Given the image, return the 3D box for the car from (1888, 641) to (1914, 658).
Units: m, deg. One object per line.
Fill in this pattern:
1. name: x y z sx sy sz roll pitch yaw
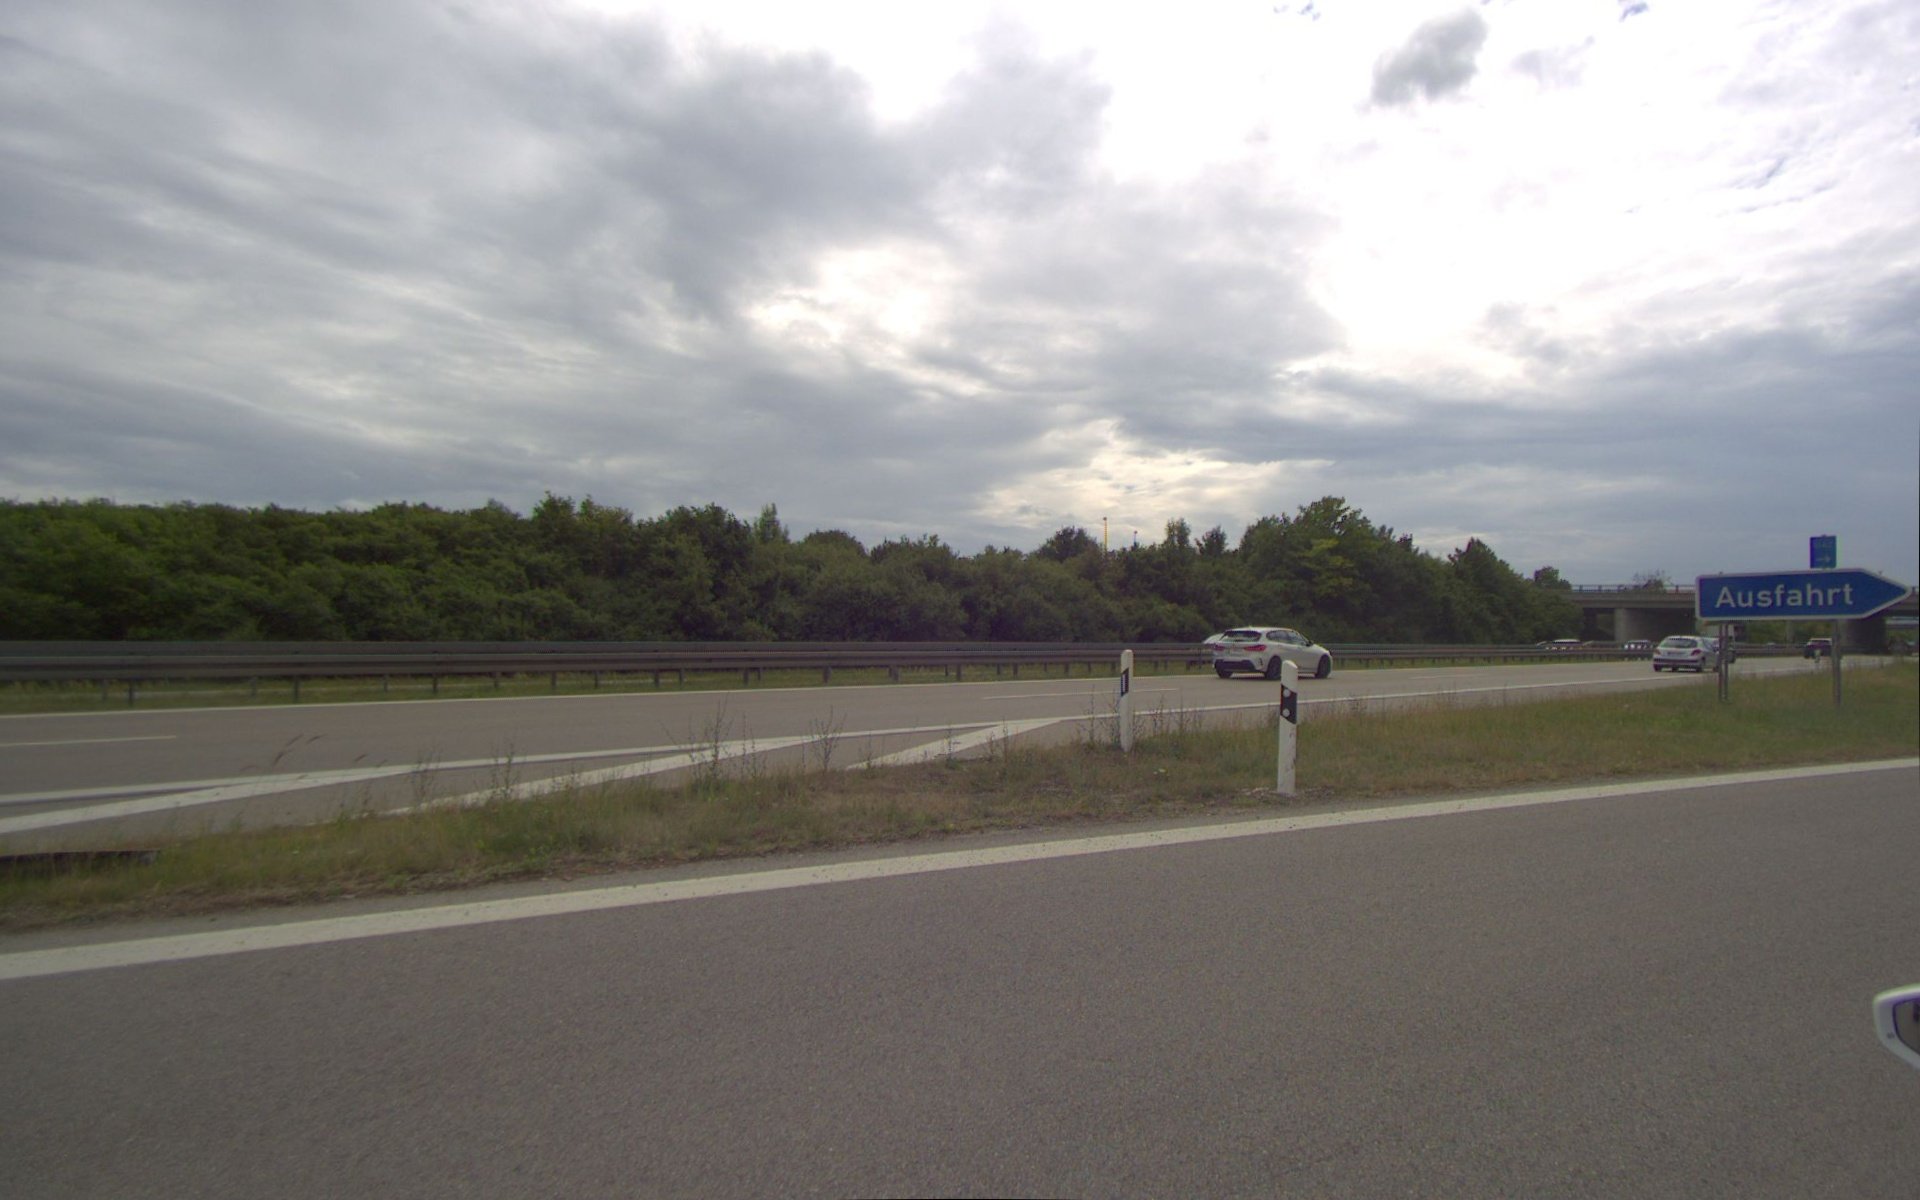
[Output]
1. car: 106.751 5.617 113.914 4.304 1.782 1.829 2 -2 -42

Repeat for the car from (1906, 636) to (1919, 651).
1. car: 121.292 5.466 127.069 3.969 1.834 1.976 2 -2 -41

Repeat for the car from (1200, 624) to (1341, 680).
1. car: 9.012 1.479 28.993 4.343 1.472 1.821 2 -2 -40

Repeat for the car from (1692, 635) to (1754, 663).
1. car: 44.418 2.839 58.418 4.742 1.529 1.976 2 -2 -41

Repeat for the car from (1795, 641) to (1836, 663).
1. car: 71.211 4.299 83.580 4.792 1.766 1.976 2 -3 -41

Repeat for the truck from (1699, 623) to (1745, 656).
1. truck: 87.427 4.525 115.188 8.135 3.694 2.734 2 -2 -42

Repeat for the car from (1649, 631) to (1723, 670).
1. car: 30.397 2.109 42.036 3.970 1.539 1.702 2 -2 -42
